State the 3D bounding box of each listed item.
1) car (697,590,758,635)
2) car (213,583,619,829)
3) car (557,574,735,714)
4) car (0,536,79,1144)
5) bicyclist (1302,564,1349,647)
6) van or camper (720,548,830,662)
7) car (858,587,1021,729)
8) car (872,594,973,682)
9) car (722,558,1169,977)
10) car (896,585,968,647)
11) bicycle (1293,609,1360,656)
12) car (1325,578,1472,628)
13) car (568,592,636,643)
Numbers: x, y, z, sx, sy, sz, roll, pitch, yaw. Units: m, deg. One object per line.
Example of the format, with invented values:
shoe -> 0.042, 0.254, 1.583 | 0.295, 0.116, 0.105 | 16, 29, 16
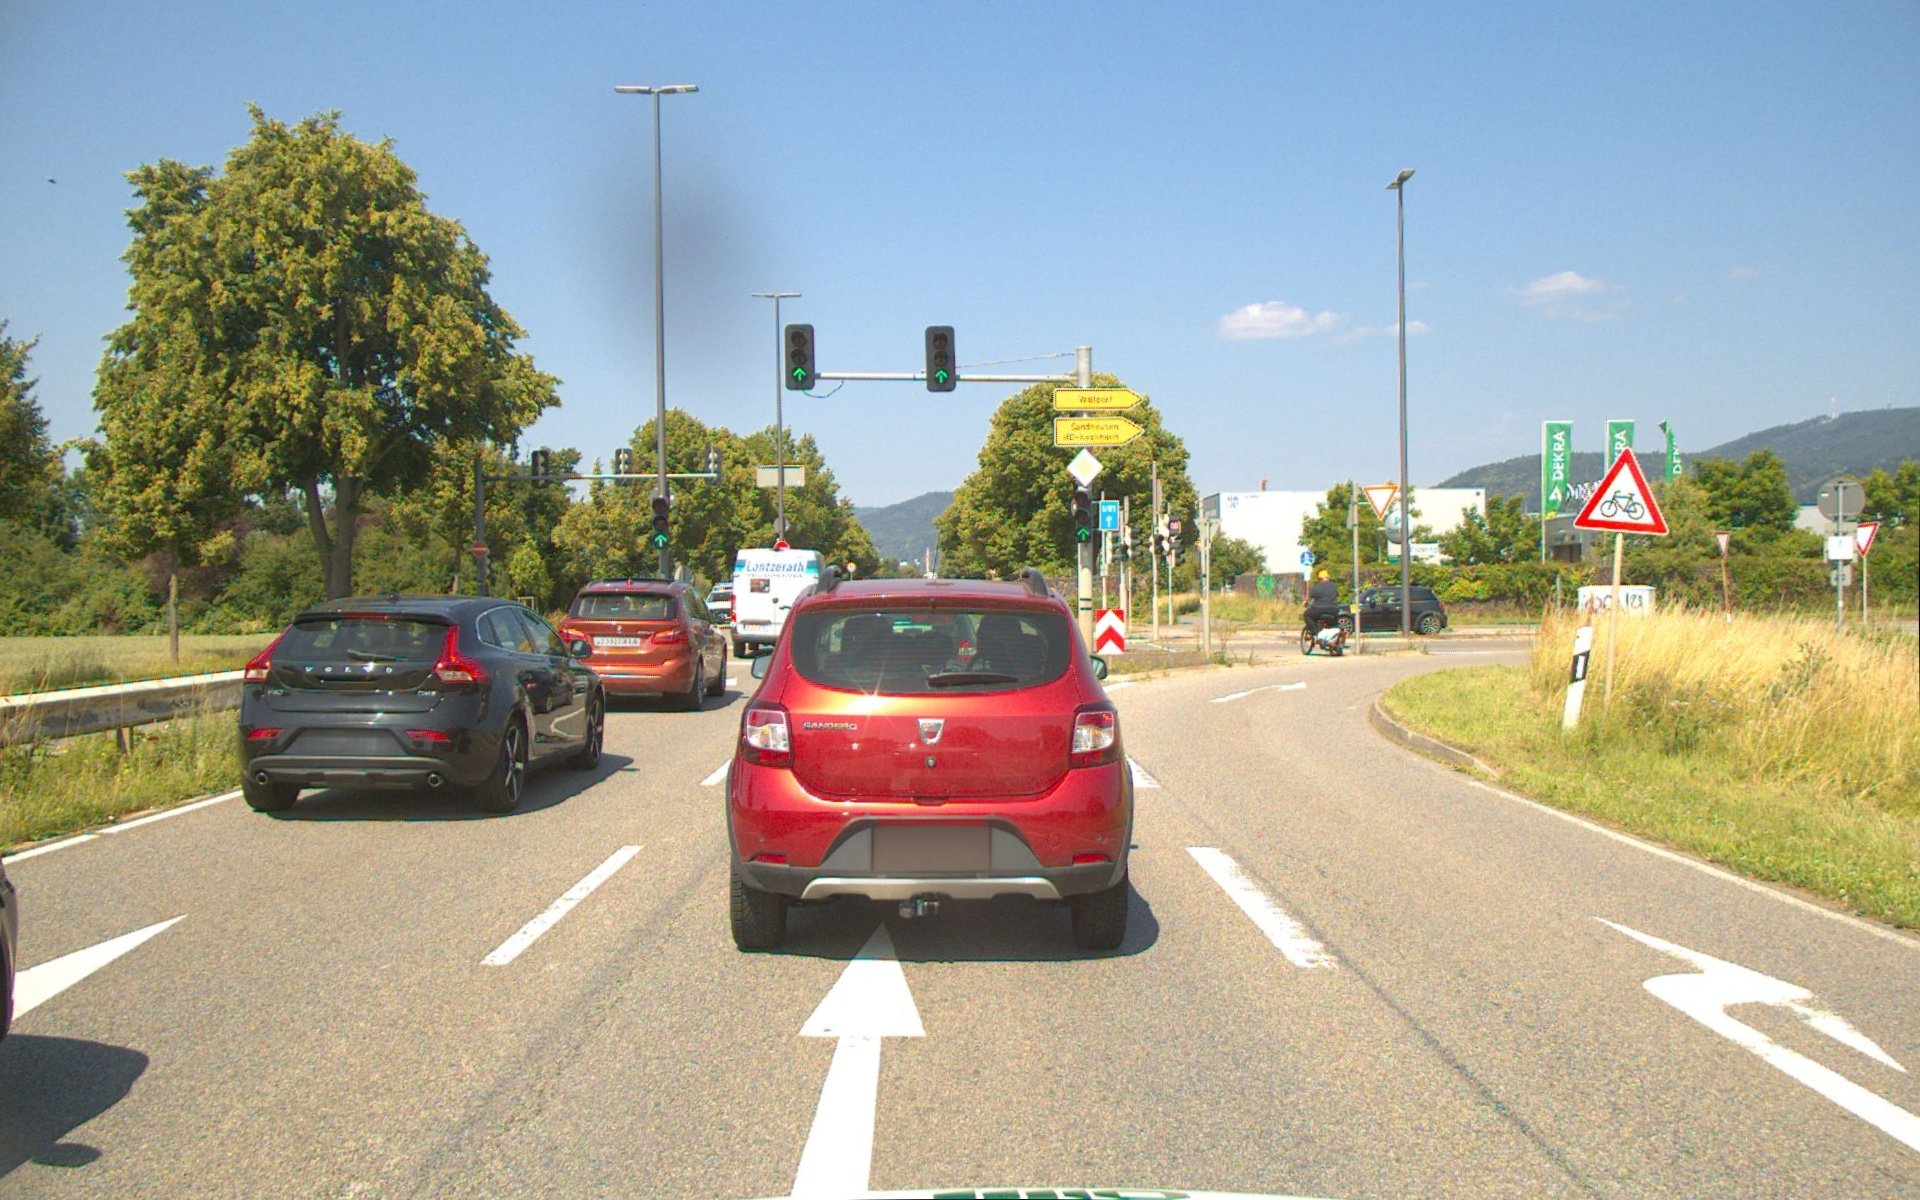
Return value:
car -> -9.271, 0.462, 66.250 | 1.953, 1.699, 3.999 | -1, 1, -2
car -> -3.746, 0.632, 12.128 | 1.667, 1.467, 3.955 | 1, 1, 0
car -> -3.952, 0.502, 21.391 | 1.689, 1.628, 3.954 | 0, 1, -2
car -> -3.365, 0.645, 2.783 | 1.688, 1.603, 3.892 | 0, 1, 0
bicyclist -> 8.049, 0.118, 36.443 | 0.786, 1.802, 0.808 | -1, 0, -3
van or camper -> -4.023, 0.082, 36.704 | 2.136, 2.343, 4.823 | 1, 0, -3
car -> -0.195, 0.601, 19.273 | 1.713, 1.483, 3.677 | 0, 1, 1
car -> -0.635, 0.648, 30.432 | 1.713, 1.483, 3.677 | 0, 1, 1
car -> -0.033, 0.623, 8.180 | 1.713, 1.603, 3.677 | 0, 1, 1
car -> -0.661, 0.369, 41.472 | 1.713, 1.483, 3.677 | 0, 1, 1
bicycle -> 8.058, 0.696, 36.484 | 0.746, 0.931, 2.778 | -1, 1, -3
car -> 12.671, 0.075, 47.978 | 3.902, 1.350, 1.808 | -1, 1, 8
car -> -12.591, 0.588, 58.326 | 1.711, 1.646, 4.133 | -1, 1, -4
